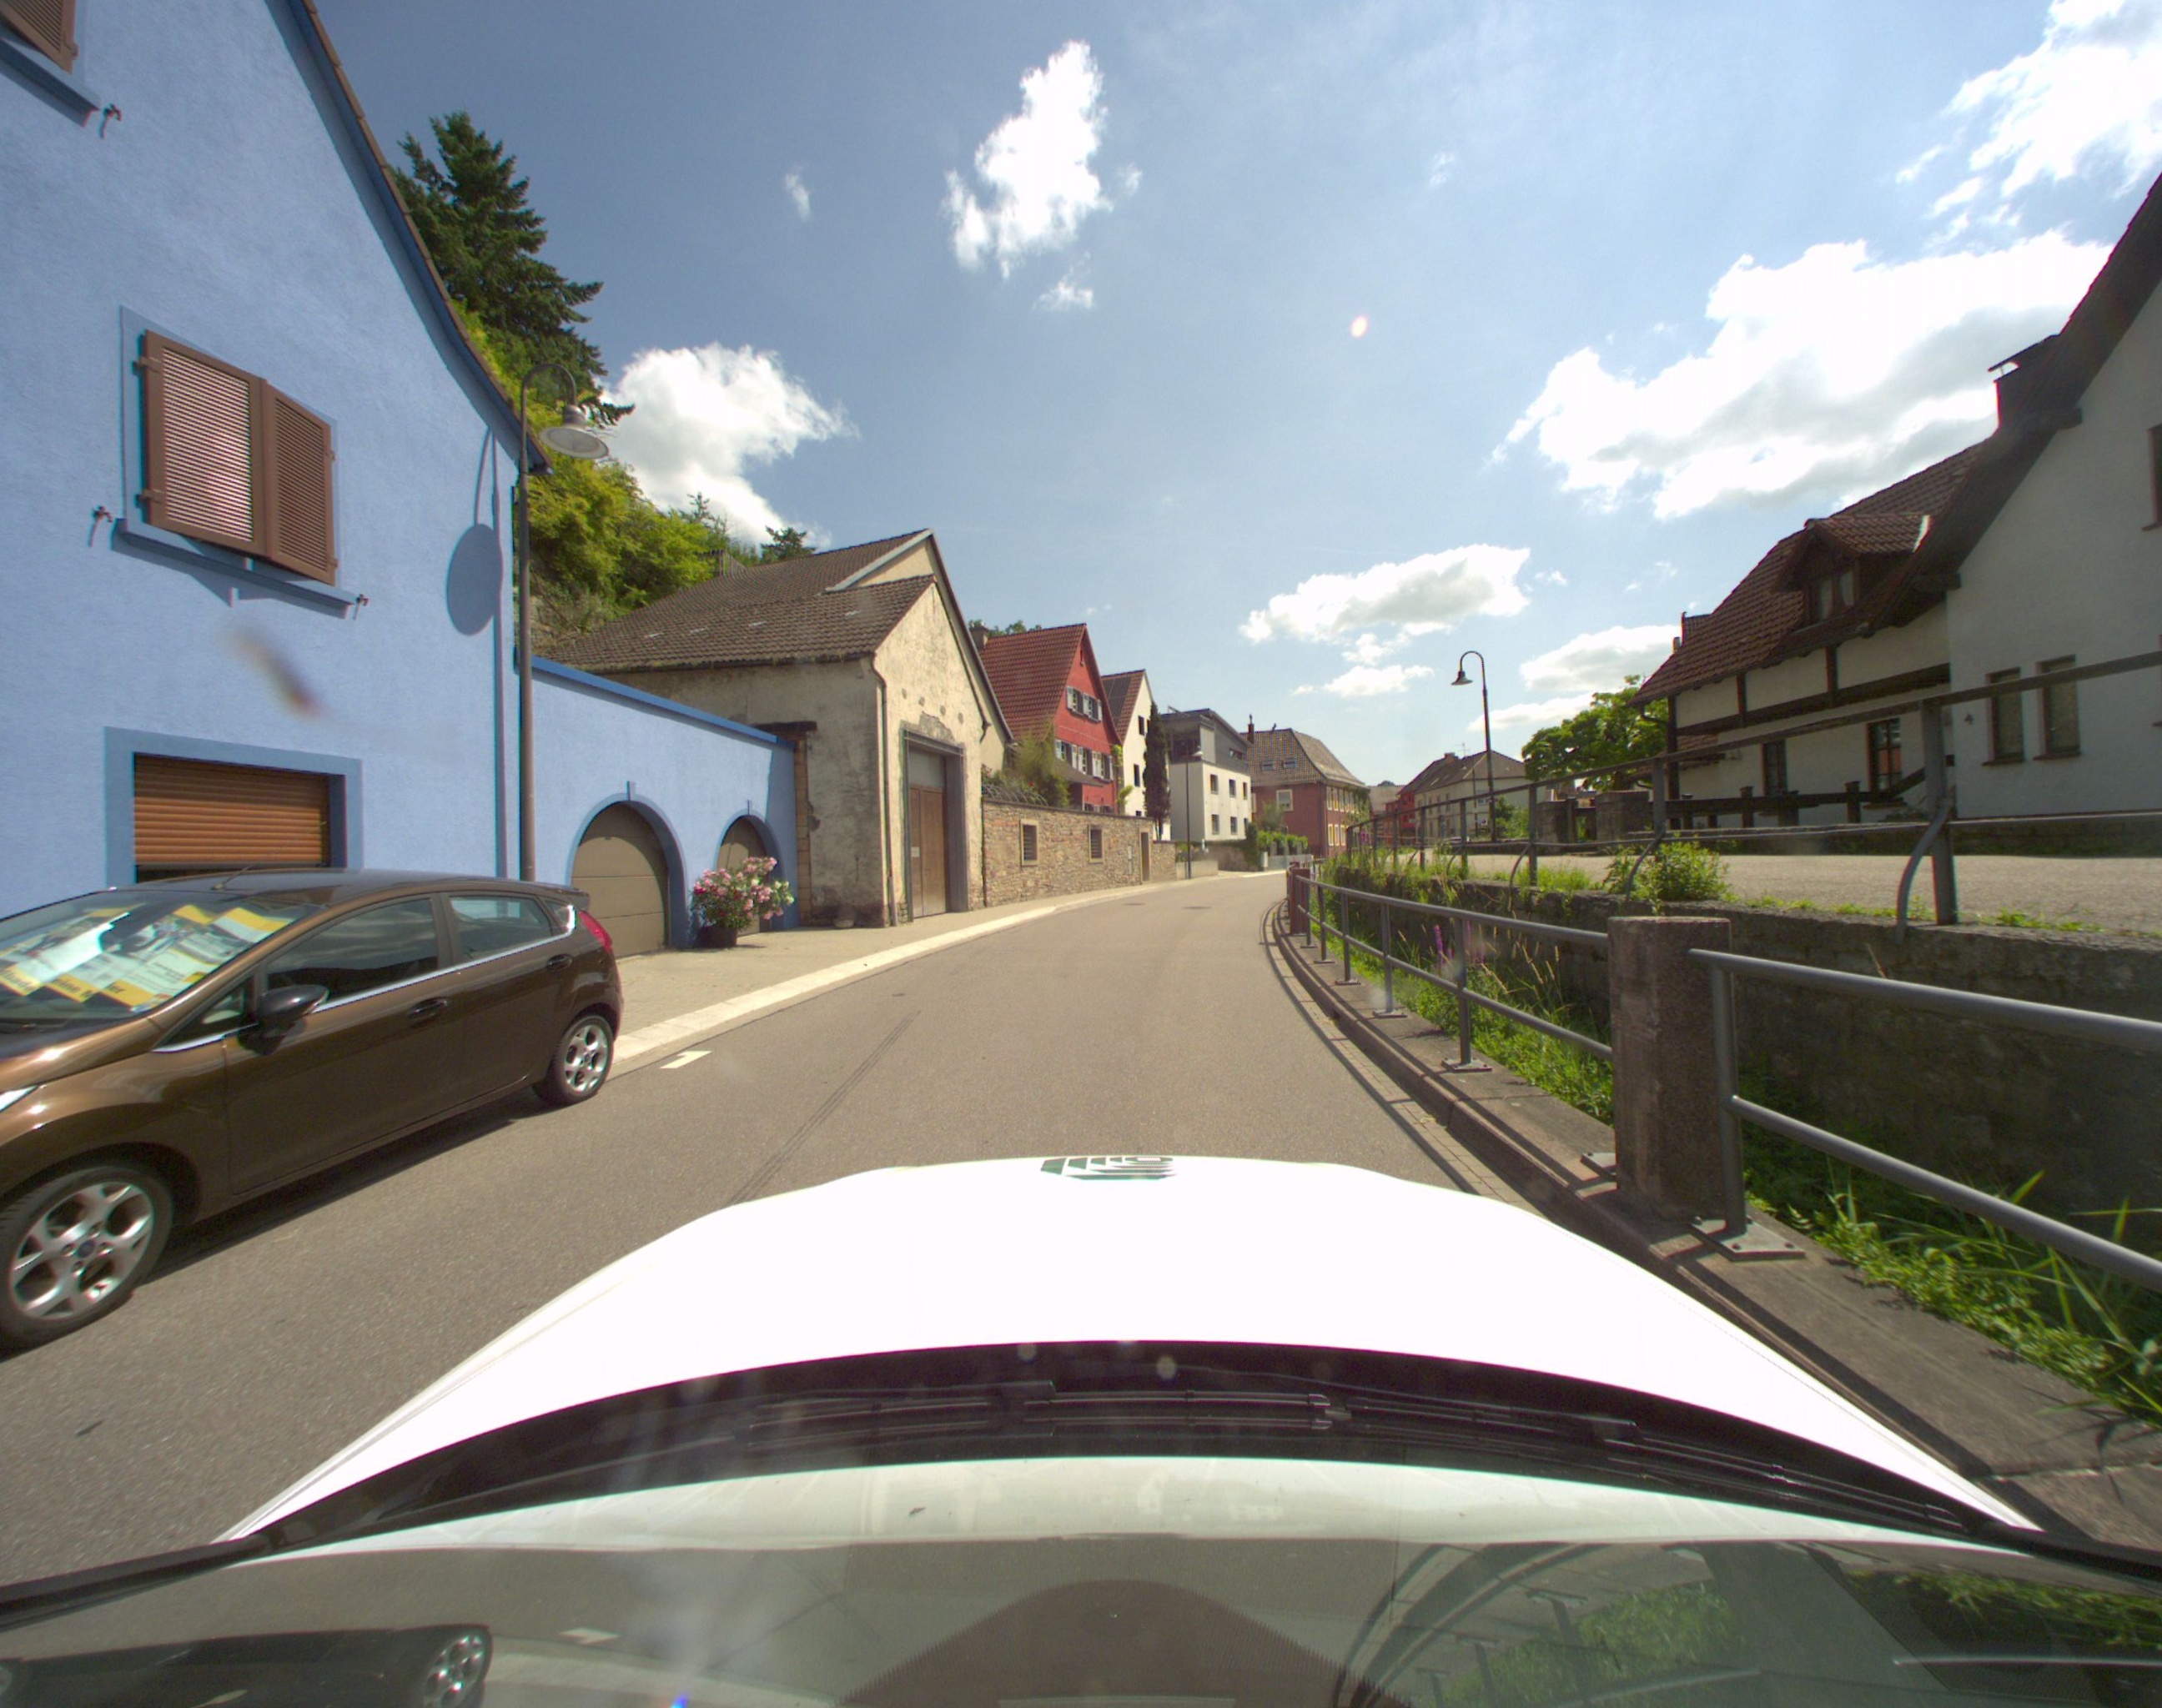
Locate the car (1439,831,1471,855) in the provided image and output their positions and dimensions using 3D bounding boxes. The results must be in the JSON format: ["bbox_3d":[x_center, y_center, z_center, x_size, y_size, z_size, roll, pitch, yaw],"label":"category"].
[{"bbox_3d":[33.029,-0.975,71.827,1.879,1.980,3.134,-5,-2,35],"label":"car"}]

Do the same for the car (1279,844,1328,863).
[{"bbox_3d":[18.497,-0.068,67.795,3.531,1.406,1.662,2,2,32],"label":"car"}]

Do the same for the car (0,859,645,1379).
[{"bbox_3d":[-4.011,0.795,3.849,1.710,1.530,3.858,0,0,2],"label":"car"}]
